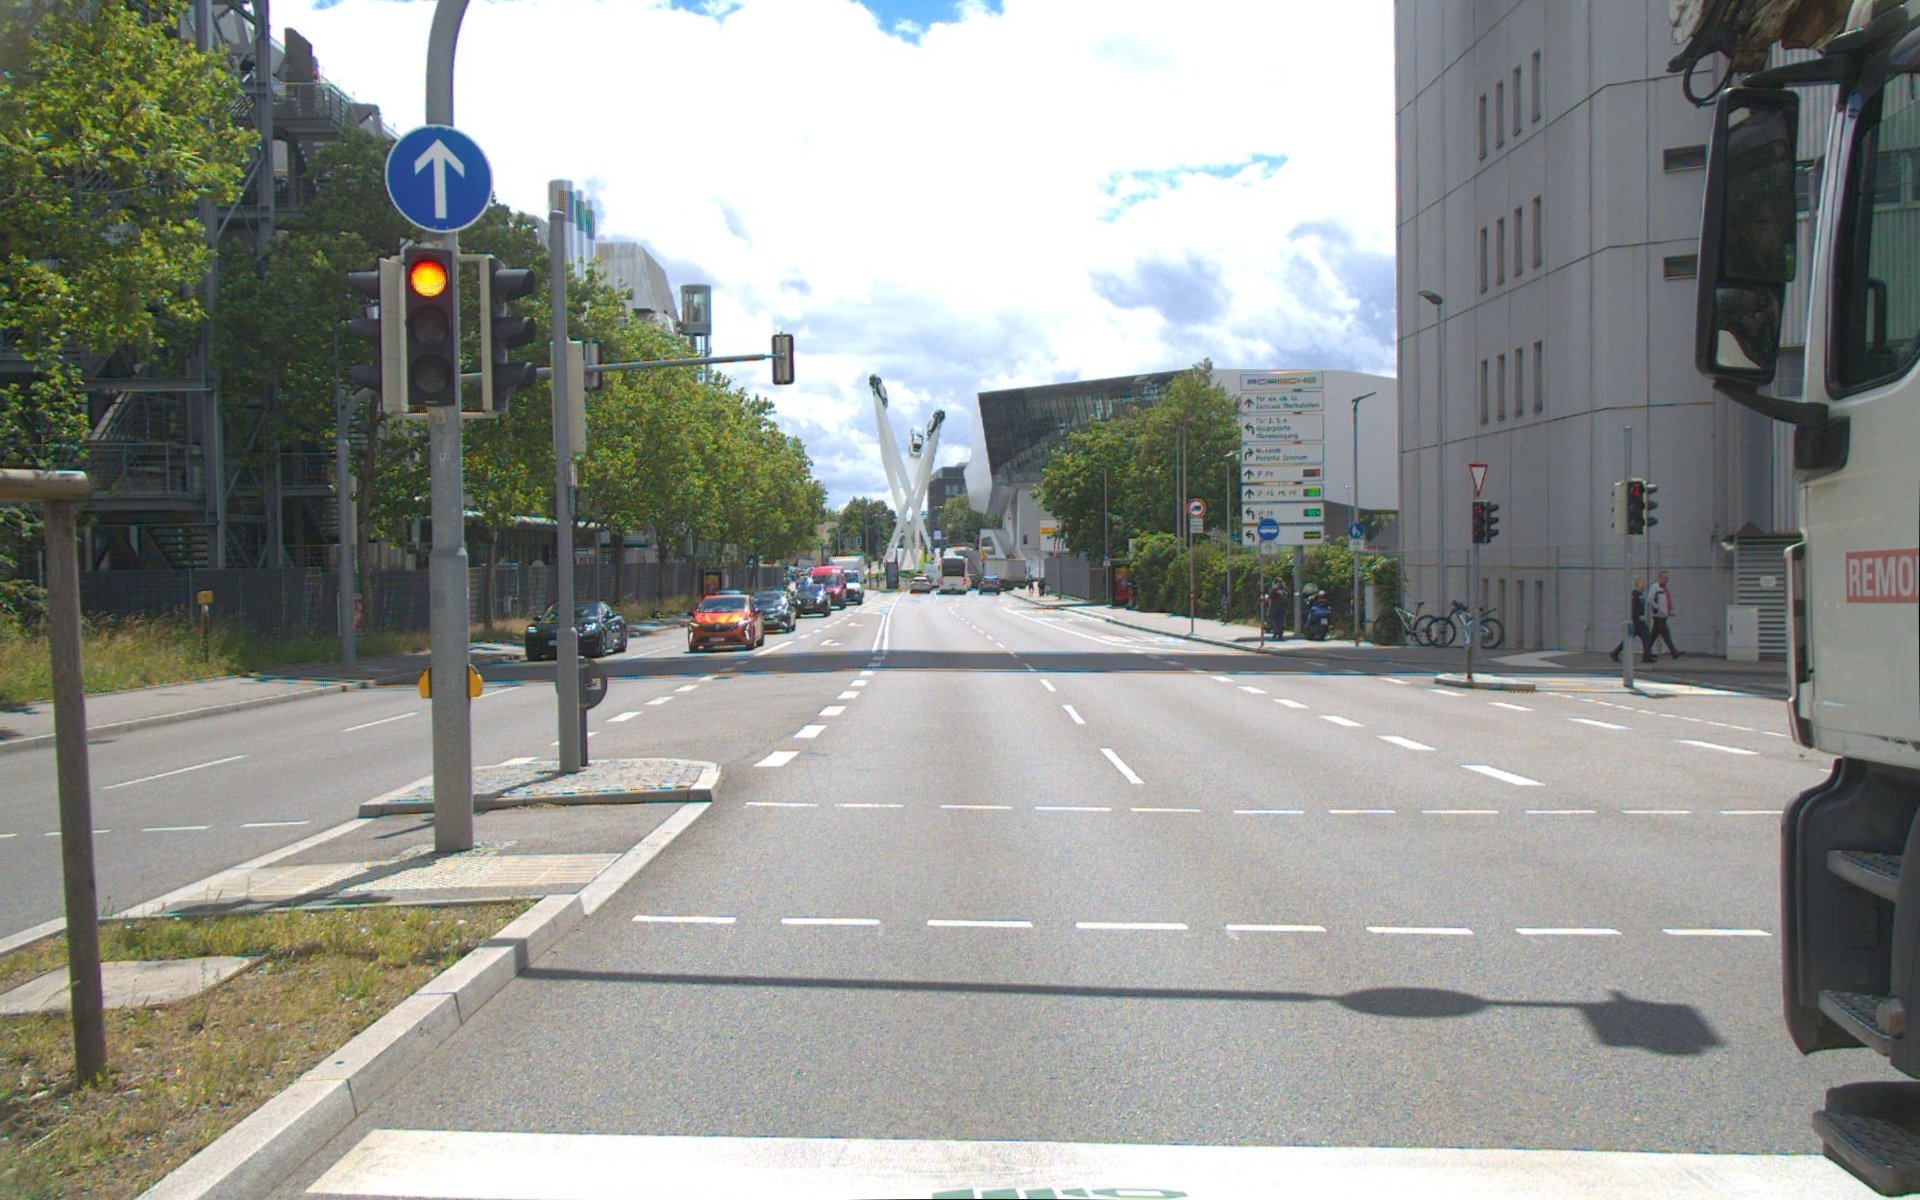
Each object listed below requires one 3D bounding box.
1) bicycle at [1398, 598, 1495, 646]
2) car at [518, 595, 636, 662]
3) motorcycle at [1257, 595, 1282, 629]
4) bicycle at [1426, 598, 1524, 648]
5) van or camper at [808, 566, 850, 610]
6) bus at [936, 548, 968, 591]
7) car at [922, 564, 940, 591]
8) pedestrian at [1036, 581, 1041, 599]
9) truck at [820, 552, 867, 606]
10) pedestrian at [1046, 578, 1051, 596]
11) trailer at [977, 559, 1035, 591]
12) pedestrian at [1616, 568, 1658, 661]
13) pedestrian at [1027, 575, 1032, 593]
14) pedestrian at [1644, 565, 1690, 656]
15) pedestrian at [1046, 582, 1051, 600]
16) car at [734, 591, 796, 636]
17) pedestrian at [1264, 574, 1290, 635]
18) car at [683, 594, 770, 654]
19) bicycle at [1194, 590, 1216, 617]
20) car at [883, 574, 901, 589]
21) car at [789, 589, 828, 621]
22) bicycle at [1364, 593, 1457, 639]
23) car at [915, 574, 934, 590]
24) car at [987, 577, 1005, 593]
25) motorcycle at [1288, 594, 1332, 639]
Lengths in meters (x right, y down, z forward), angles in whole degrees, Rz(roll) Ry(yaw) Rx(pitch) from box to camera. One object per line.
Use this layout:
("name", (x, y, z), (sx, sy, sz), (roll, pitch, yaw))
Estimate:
("bicycle", (11.686, 0.528, 39.760), (2.180, 1.105, 0.475), (1, -1, 35))
("car", (-9.816, 0.691, 42.764), (1.878, 1.514, 4.772), (-2, 0, 0))
("motorcycle", (9.739, 0.369, 52.128), (0.448, 1.040, 1.913), (1, 0, 1))
("bicycle", (12.094, 0.531, 38.845), (2.149, 1.105, 0.475), (1, -1, 35))
("van or camper", (-7.625, -0.695, 96.859), (2.005, 2.509, 5.594), (0, 0, 0))
("bus", (-0.694, -2.741, 150.141), (2.730, 3.750, 6.942), (1, 0, 0))
("car", (-3.012, -2.326, 171.100), (1.806, 2.669, 3.999), (1, 0, -1))
("pedestrian", (6.316, -0.832, 132.794), (0.378, 1.446, 0.423), (1, -1, 0))
("truck", (-7.649, -1.328, 109.538), (2.538, 3.382, 7.078), (1, 0, 0))
("pedestrian", (7.238, -1.067, 135.750), (0.378, 1.446, 0.423), (1, -1, 0))
("trailer", (4.878, -2.520, 172.210), (3.250, 3.047, 10.380), (1, 0, 18))
("pedestrian", (13.654, 0.287, 33.390), (0.695, 1.825, 0.643), (-2, 1, 21))
("pedestrian", (5.677, -1.292, 135.950), (0.378, 1.446, 0.423), (1, -1, 0))
("pedestrian", (14.569, 0.206, 34.088), (0.697, 1.825, 0.692), (-2, 1, 34))
("pedestrian", (7.096, -0.705, 132.788), (0.378, 1.446, 0.423), (1, -1, 0))
("car", (-6.938, 0.463, 59.090), (1.733, 1.445, 3.701), (-2, 0, 0))
("pedestrian", (8.713, 0.124, 45.493), (0.523, 1.669, 0.657), (1, -1, -6))
("car", (-6.175, 0.600, 44.030), (1.733, 1.445, 3.701), (-2, 0, 0))
("bicycle", (9.670, 0.155, 65.388), (0.410, 1.040, 1.910), (1, 0, -5))
("car", (-6.404, -1.738, 155.511), (1.525, 1.295, 3.701), (-2, 0, 0))
("car", (-7.465, 0.248, 81.856), (1.525, 1.473, 3.772), (-2, 0, 0))
("bicycle", (11.151, 0.384, 41.012), (2.180, 1.105, 0.475), (1, -1, 35))
("car", (-3.181, -1.611, 148.641), (1.525, 1.295, 3.701), (-2, 0, 1))
("car", (3.187, -1.319, 146.210), (1.525, 1.295, 3.701), (-2, 0, 1))
("motorcycle", (9.547, 0.450, 45.141), (0.410, 1.186, 1.951), (1, 0, -11))
